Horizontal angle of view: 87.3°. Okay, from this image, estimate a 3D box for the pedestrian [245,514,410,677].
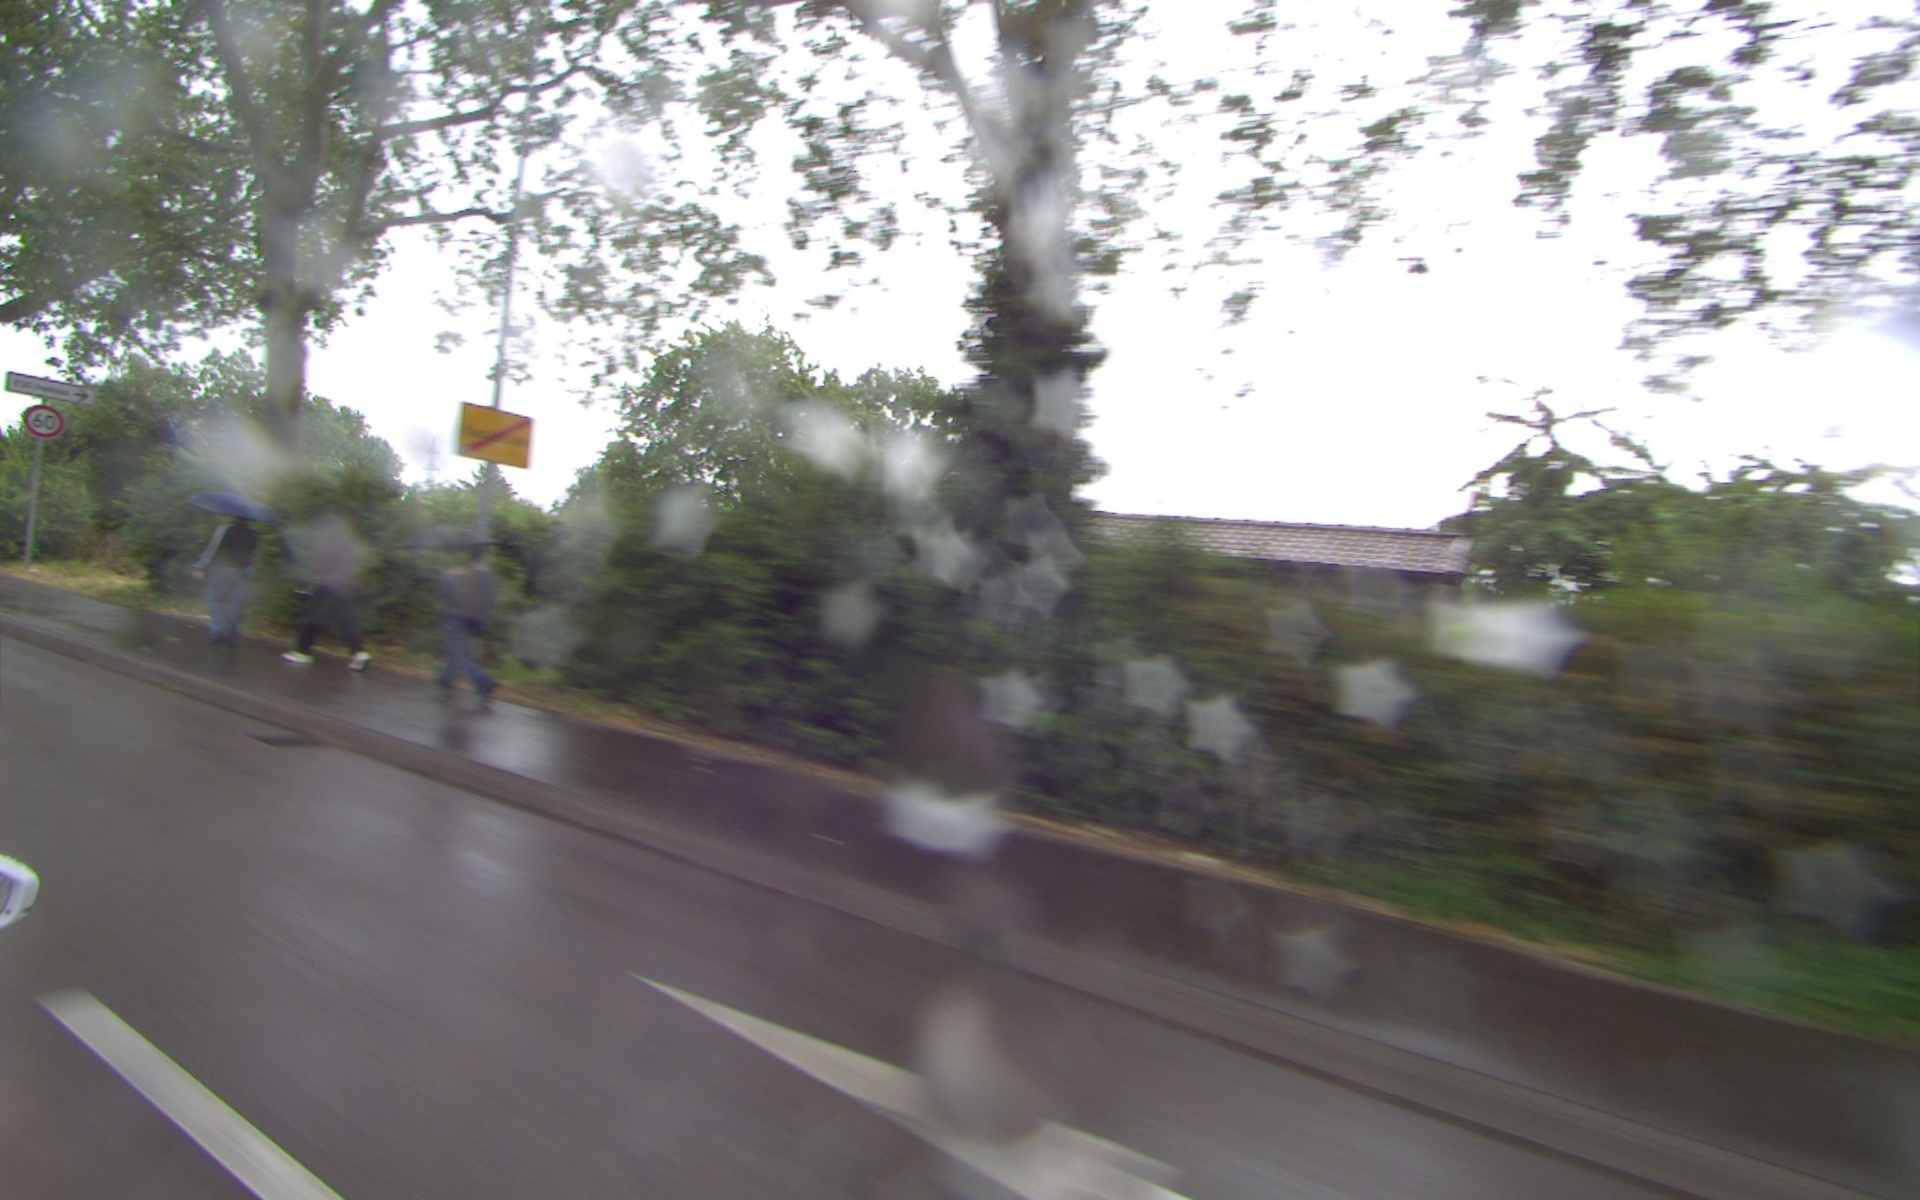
[{"bbox_3d":[-6.911,-0.044,11.002,1.272,1.609,0.948,6,0,31],"label":"pedestrian"}]

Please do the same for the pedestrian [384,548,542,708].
[{"bbox_3d":[-4.830,0.264,9.793,0.999,1.408,0.893,6,1,32],"label":"pedestrian"}]

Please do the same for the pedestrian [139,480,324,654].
[{"bbox_3d":[-8.531,-0.374,11.817,1.128,1.806,1.243,6,-2,31],"label":"pedestrian"}]
